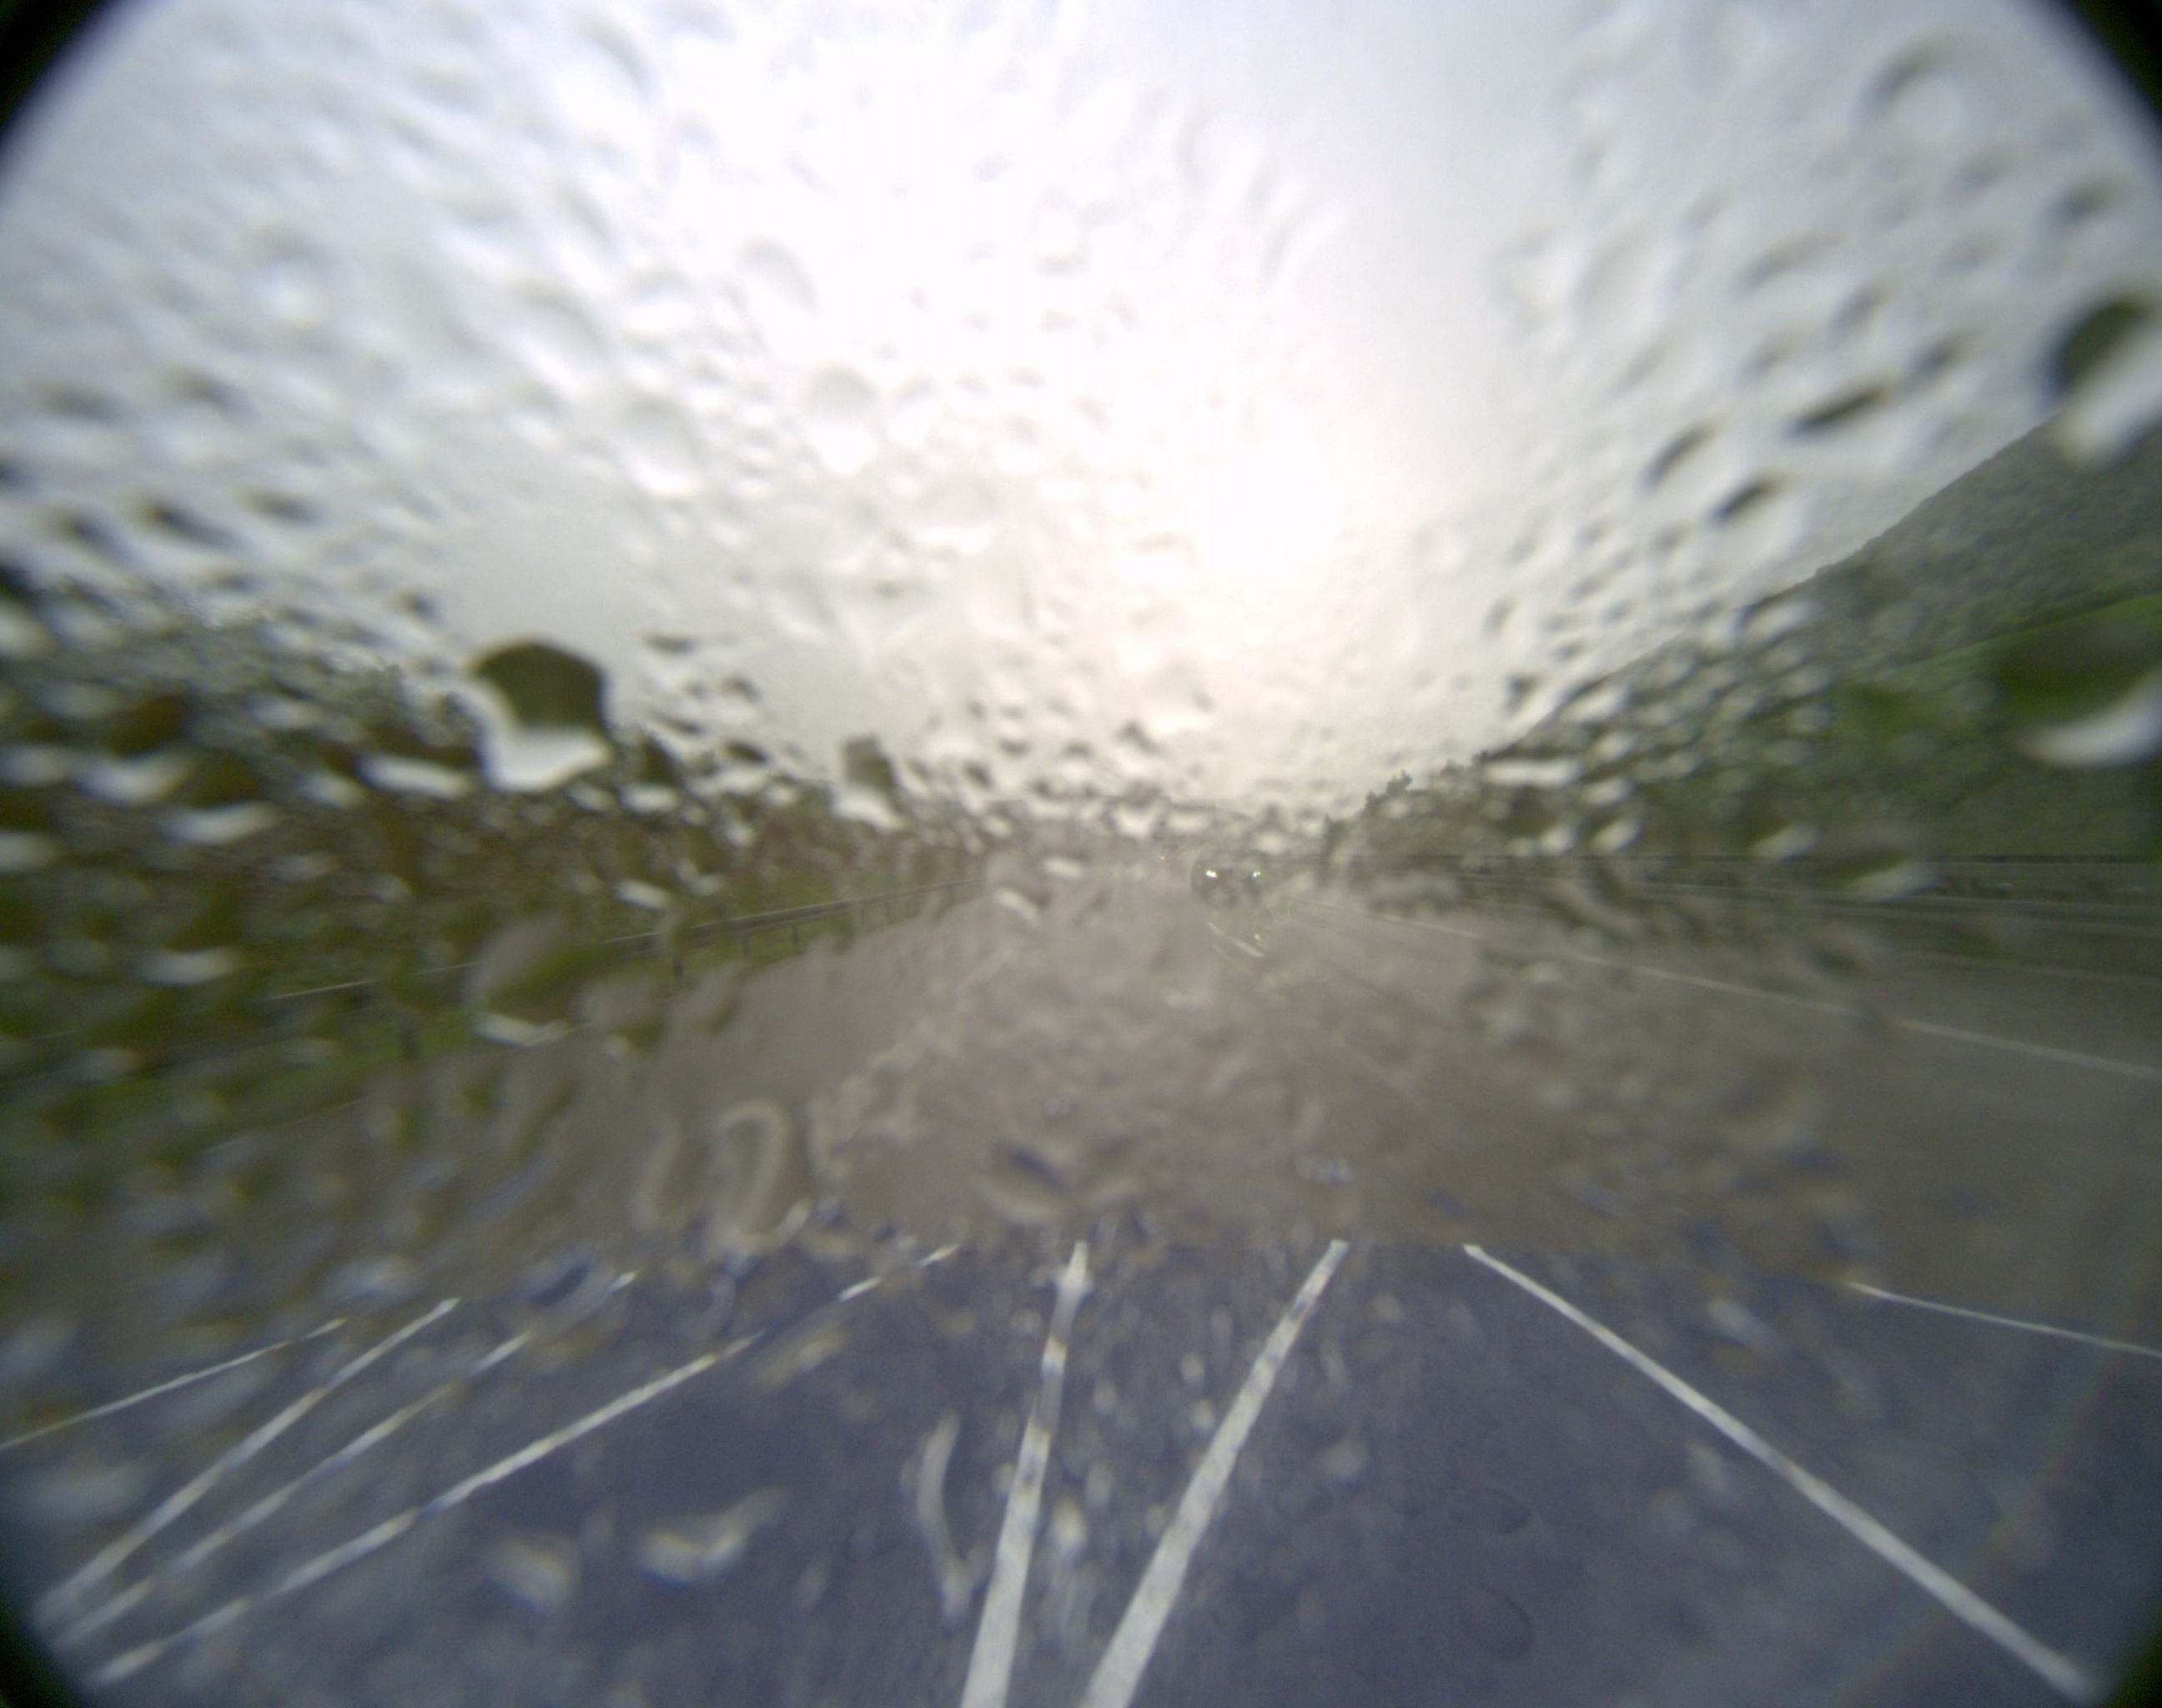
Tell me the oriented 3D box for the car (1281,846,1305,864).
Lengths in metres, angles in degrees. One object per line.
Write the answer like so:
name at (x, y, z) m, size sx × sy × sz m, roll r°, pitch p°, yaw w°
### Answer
car at (25.716, 0.096, 92.302) m, size 1.918 × 2.002 × 4.000 m, roll -2°, pitch 0°, yaw 3°

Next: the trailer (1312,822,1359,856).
trailer at (28.890, -1.659, 86.618) m, size 2.726 × 3.471 × 9.397 m, roll -2°, pitch 0°, yaw 4°

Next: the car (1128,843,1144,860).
car at (7.204, -0.346, 99.551) m, size 1.835 × 2.002 × 3.939 m, roll -4°, pitch 1°, yaw 4°

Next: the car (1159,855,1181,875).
car at (9.497, 1.137, 81.688) m, size 1.987 × 2.002 × 3.934 m, roll -2°, pitch 0°, yaw 2°

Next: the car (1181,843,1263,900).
car at (4.688, 0.516, 25.785) m, size 1.815 × 1.692 × 3.747 m, roll -4°, pitch 1°, yaw -3°

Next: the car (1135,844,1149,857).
car at (9.519, -0.535, 118.031) m, size 1.998 × 2.002 × 4.001 m, roll -2°, pitch 0°, yaw 3°

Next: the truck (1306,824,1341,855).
truck at (29.278, -1.749, 91.947) m, size 2.722 × 3.522 × 5.311 m, roll -2°, pitch 1°, yaw 4°
